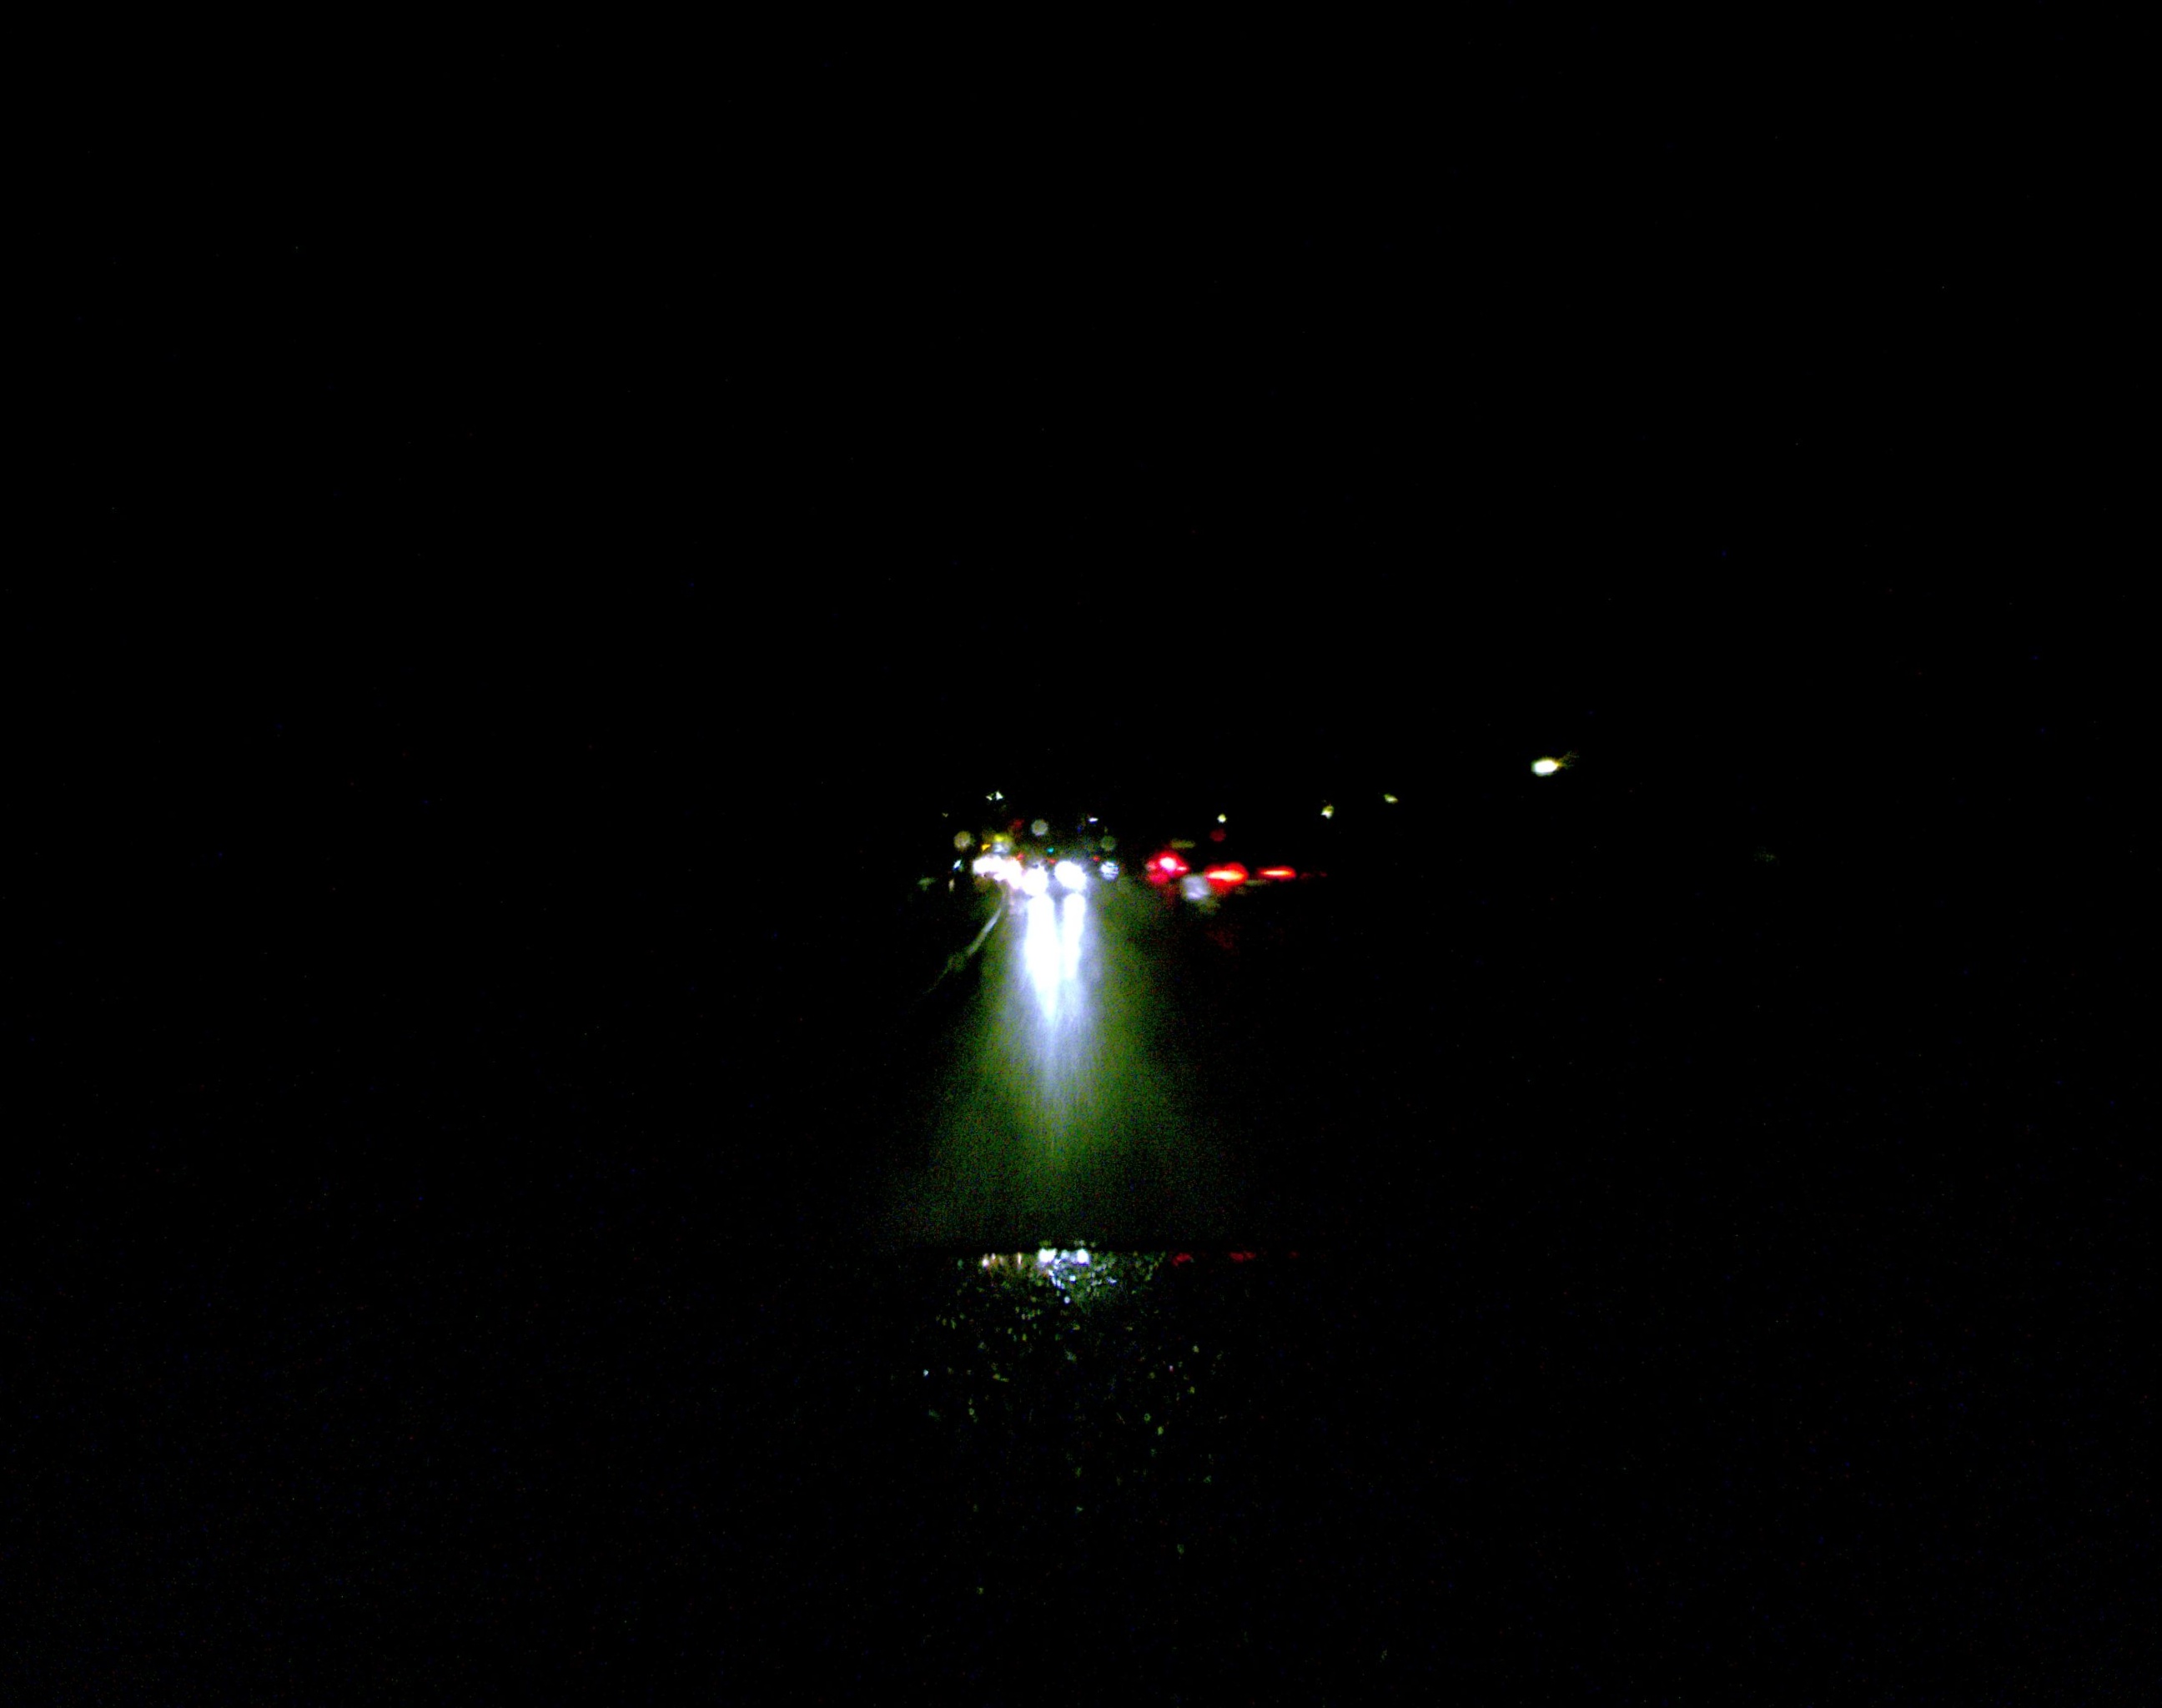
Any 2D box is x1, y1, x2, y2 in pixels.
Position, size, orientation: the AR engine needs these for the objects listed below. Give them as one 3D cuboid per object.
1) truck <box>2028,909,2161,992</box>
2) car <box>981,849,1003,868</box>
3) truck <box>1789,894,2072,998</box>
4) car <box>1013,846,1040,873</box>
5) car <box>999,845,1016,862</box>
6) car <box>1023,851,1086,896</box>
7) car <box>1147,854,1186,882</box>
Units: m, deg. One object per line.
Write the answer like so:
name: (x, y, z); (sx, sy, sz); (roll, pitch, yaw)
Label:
truck: (38.091, 3.532, 26.285); (2.172, 2.504, 6.871); (4, 1, 4)
car: (-8.692, 0.423, 74.177); (1.710, 1.762, 3.995); (-2, 1, -12)
truck: (28.780, 2.951, 26.327); (2.172, 2.504, 6.871); (4, 1, 4)
car: (-4.268, 0.416, 60.036); (1.899, 2.002, 3.998); (-2, 1, -3)
car: (-8.998, -0.111, 93.216); (1.999, 2.002, 3.998); (-2, 1, -4)
car: (-1.211, 0.756, 32.046); (2.000, 1.585, 4.604); (-4, 1, -9)
car: (4.470, 0.693, 40.191); (1.638, 1.346, 4.142); (-1, 0, 1)
